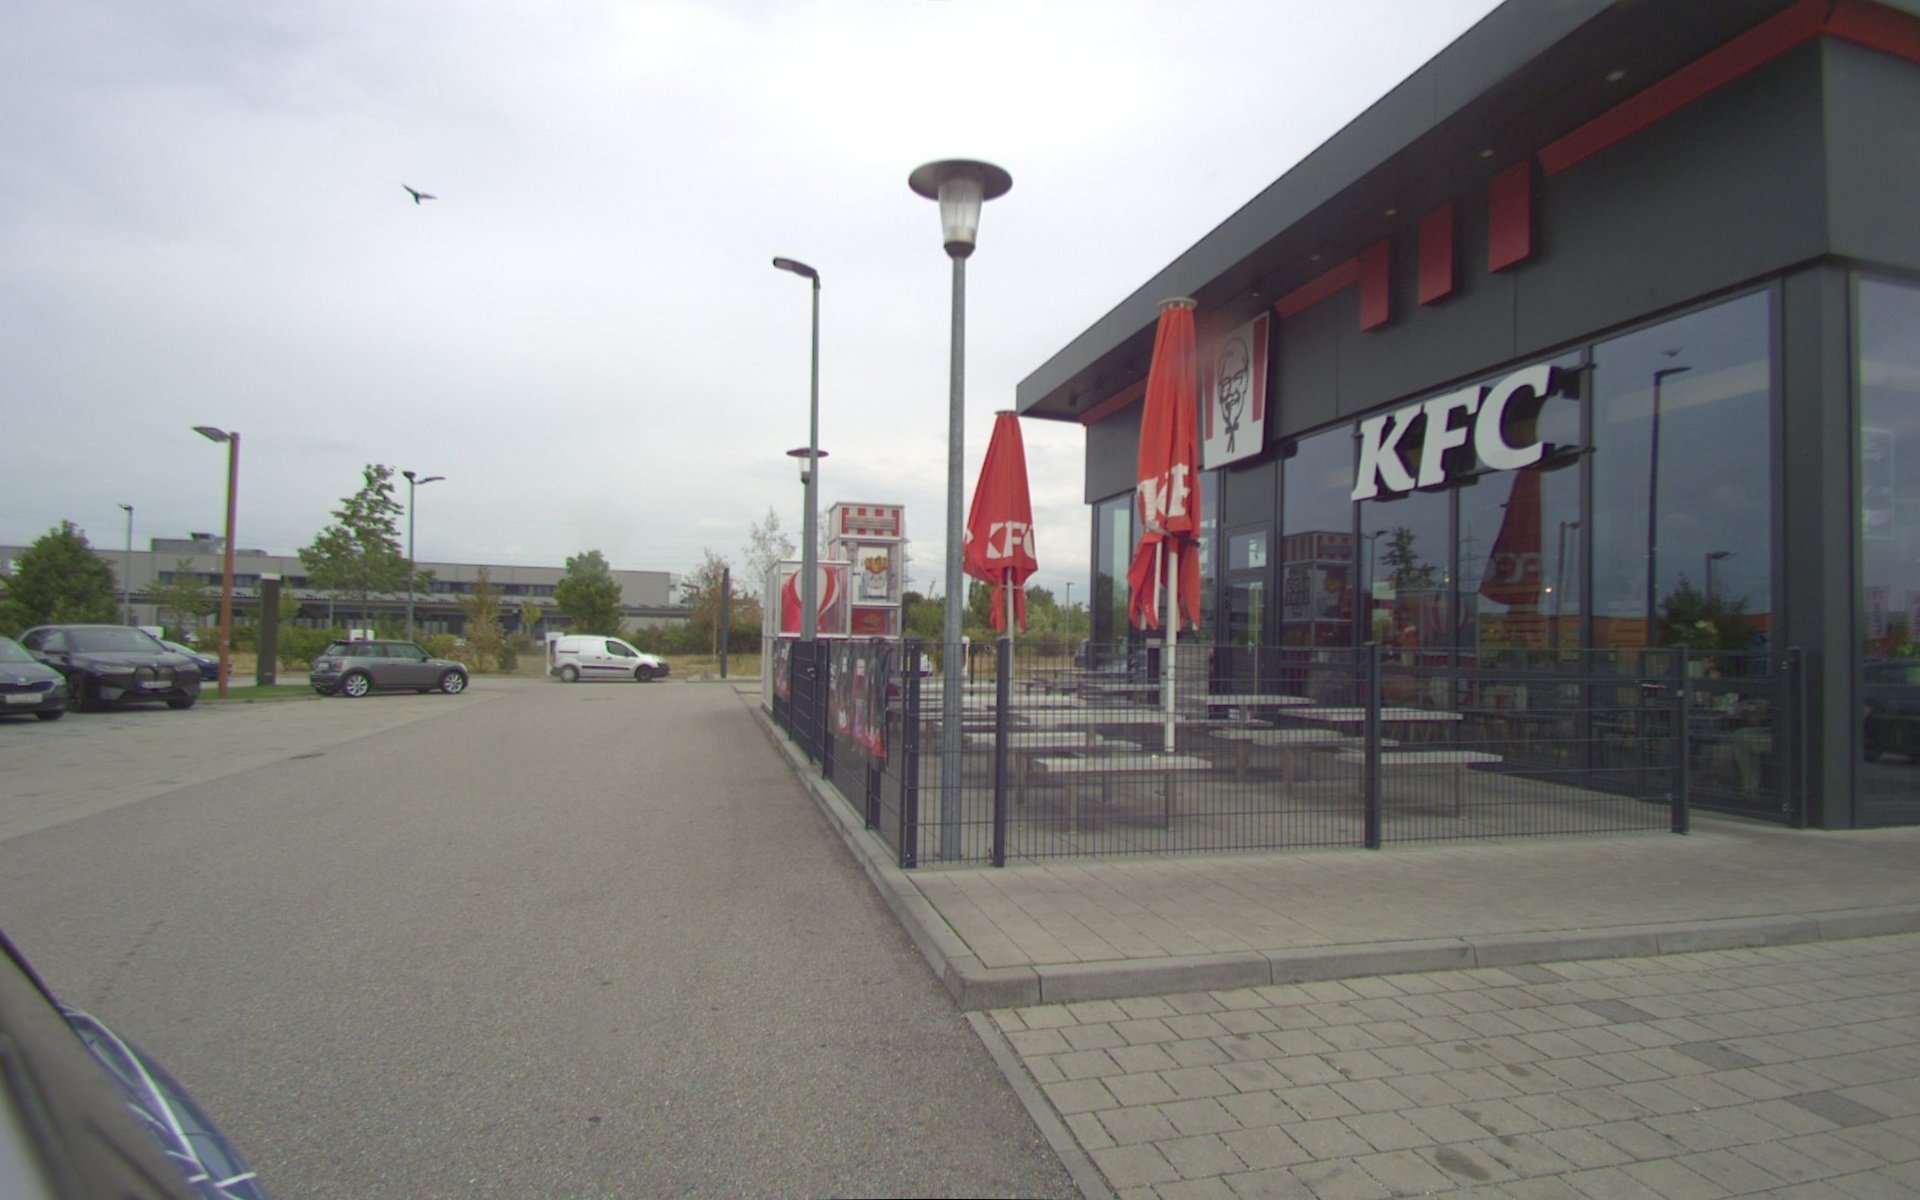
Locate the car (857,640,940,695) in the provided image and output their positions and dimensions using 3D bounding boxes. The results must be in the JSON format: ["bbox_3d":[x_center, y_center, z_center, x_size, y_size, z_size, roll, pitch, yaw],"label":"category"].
[{"bbox_3d":[-1.911,1.996,30.272,1.601,1.516,4.180,2,-3,-15],"label":"car"}]

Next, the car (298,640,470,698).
[{"bbox_3d":[-14.854,1.804,26.251,1.605,1.387,3.485,-2,-5,34],"label":"car"}]

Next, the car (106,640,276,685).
[{"bbox_3d":[-26.989,2.178,35.674,4.382,1.470,1.838,2,-2,-12],"label":"car"}]

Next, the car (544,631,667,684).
[{"bbox_3d":[-13.518,2.226,38.862,4.263,1.903,1.951,2,-4,-15],"label":"car"}]

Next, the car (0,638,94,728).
[{"bbox_3d":[-17.050,1.373,17.315,3.974,1.422,1.818,-1,-2,23],"label":"car"}]

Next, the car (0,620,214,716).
[{"bbox_3d":[-17.585,1.337,20.417,4.869,1.741,1.983,-1,-4,25],"label":"car"}]

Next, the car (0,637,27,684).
[{"bbox_3d":[-34.522,2.003,33.826,4.402,1.565,2.079,1,-3,-16],"label":"car"}]
